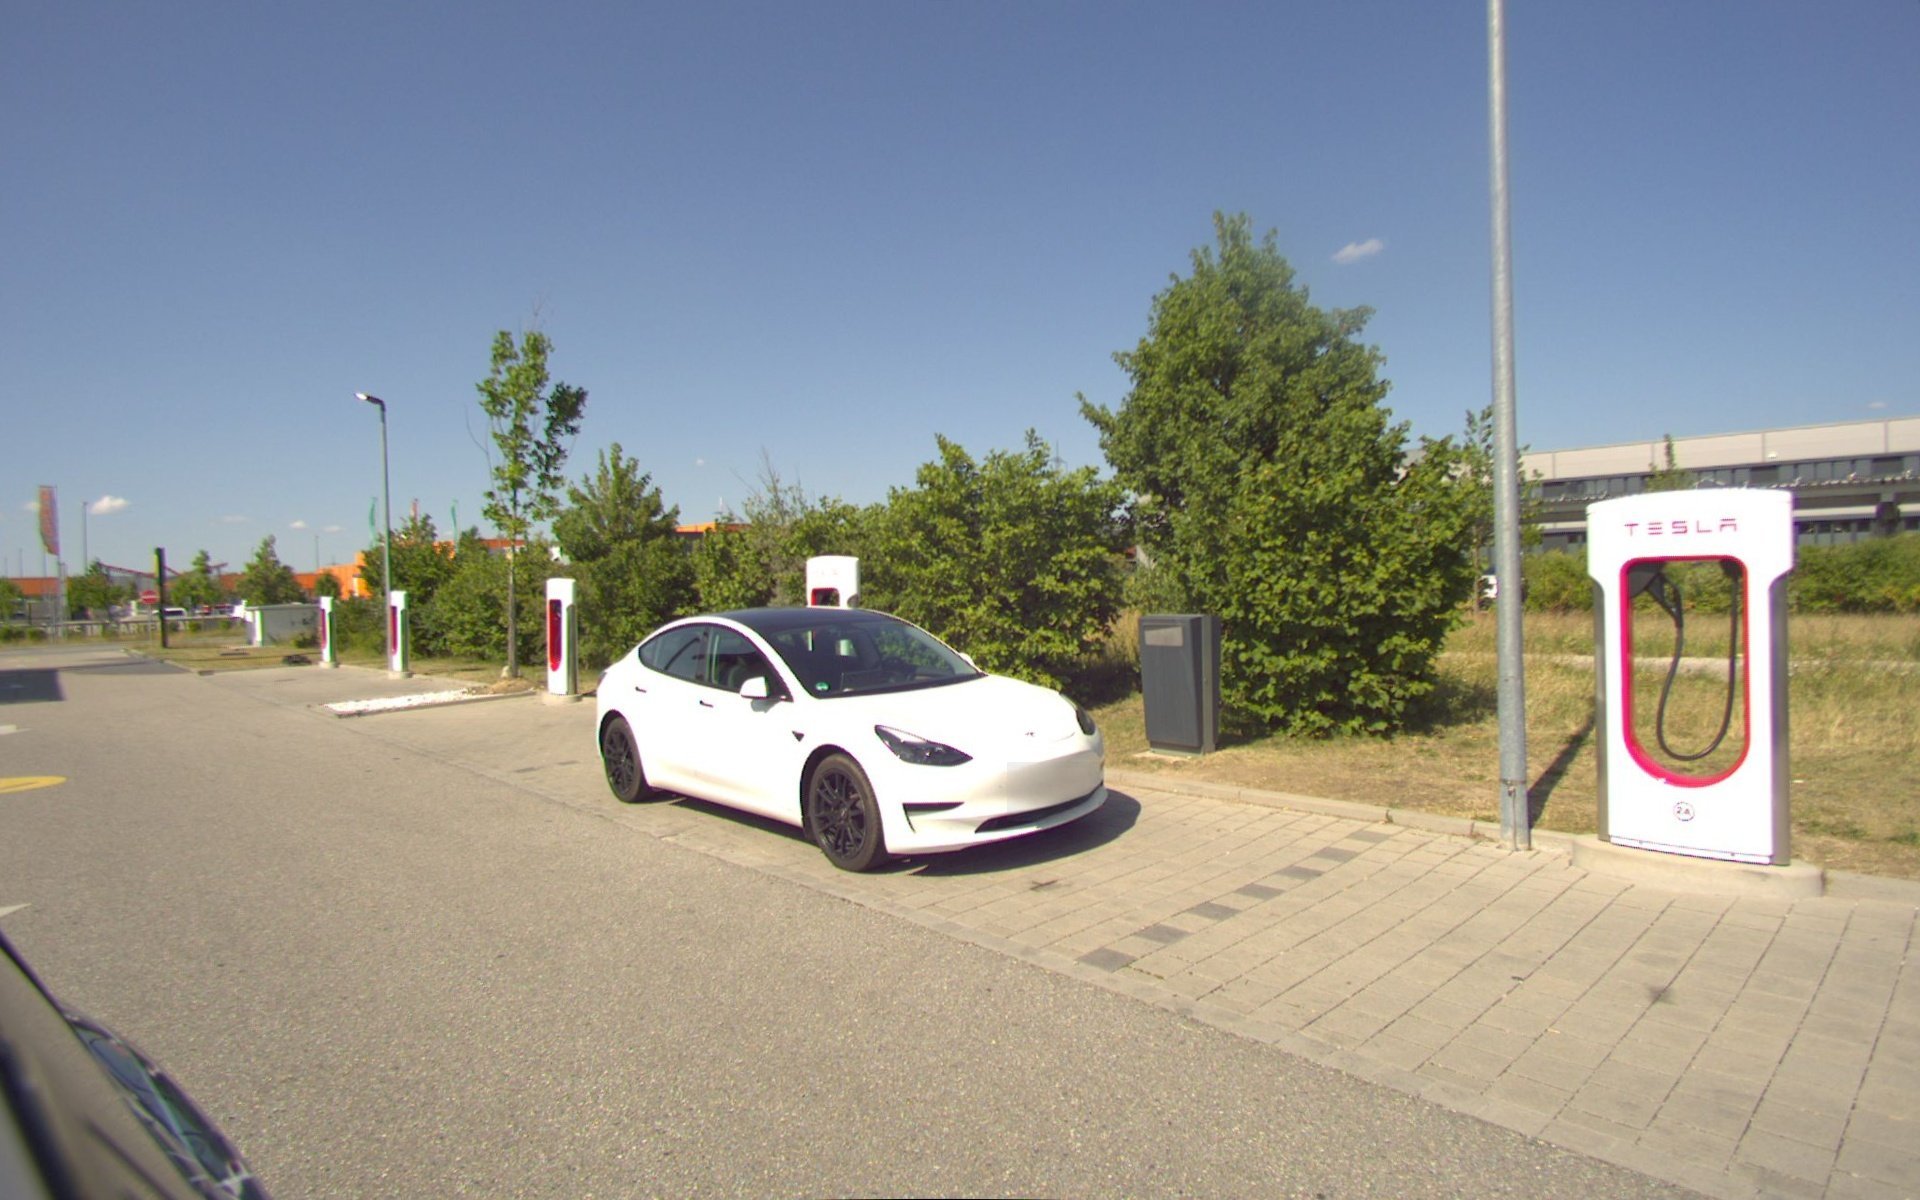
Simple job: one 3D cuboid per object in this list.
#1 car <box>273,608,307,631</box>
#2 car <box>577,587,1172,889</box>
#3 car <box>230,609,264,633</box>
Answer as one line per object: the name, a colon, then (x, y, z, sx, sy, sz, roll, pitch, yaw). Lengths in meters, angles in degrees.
car: (-61.653, 1.807, 93.085, 1.970, 2.029, 4.004, -2, 0, -43)
car: (-0.907, 0.689, 7.065, 1.794, 1.388, 4.454, -2, 0, -42)
car: (-63.790, 1.873, 90.504, 1.970, 2.029, 4.004, -2, 0, -43)
